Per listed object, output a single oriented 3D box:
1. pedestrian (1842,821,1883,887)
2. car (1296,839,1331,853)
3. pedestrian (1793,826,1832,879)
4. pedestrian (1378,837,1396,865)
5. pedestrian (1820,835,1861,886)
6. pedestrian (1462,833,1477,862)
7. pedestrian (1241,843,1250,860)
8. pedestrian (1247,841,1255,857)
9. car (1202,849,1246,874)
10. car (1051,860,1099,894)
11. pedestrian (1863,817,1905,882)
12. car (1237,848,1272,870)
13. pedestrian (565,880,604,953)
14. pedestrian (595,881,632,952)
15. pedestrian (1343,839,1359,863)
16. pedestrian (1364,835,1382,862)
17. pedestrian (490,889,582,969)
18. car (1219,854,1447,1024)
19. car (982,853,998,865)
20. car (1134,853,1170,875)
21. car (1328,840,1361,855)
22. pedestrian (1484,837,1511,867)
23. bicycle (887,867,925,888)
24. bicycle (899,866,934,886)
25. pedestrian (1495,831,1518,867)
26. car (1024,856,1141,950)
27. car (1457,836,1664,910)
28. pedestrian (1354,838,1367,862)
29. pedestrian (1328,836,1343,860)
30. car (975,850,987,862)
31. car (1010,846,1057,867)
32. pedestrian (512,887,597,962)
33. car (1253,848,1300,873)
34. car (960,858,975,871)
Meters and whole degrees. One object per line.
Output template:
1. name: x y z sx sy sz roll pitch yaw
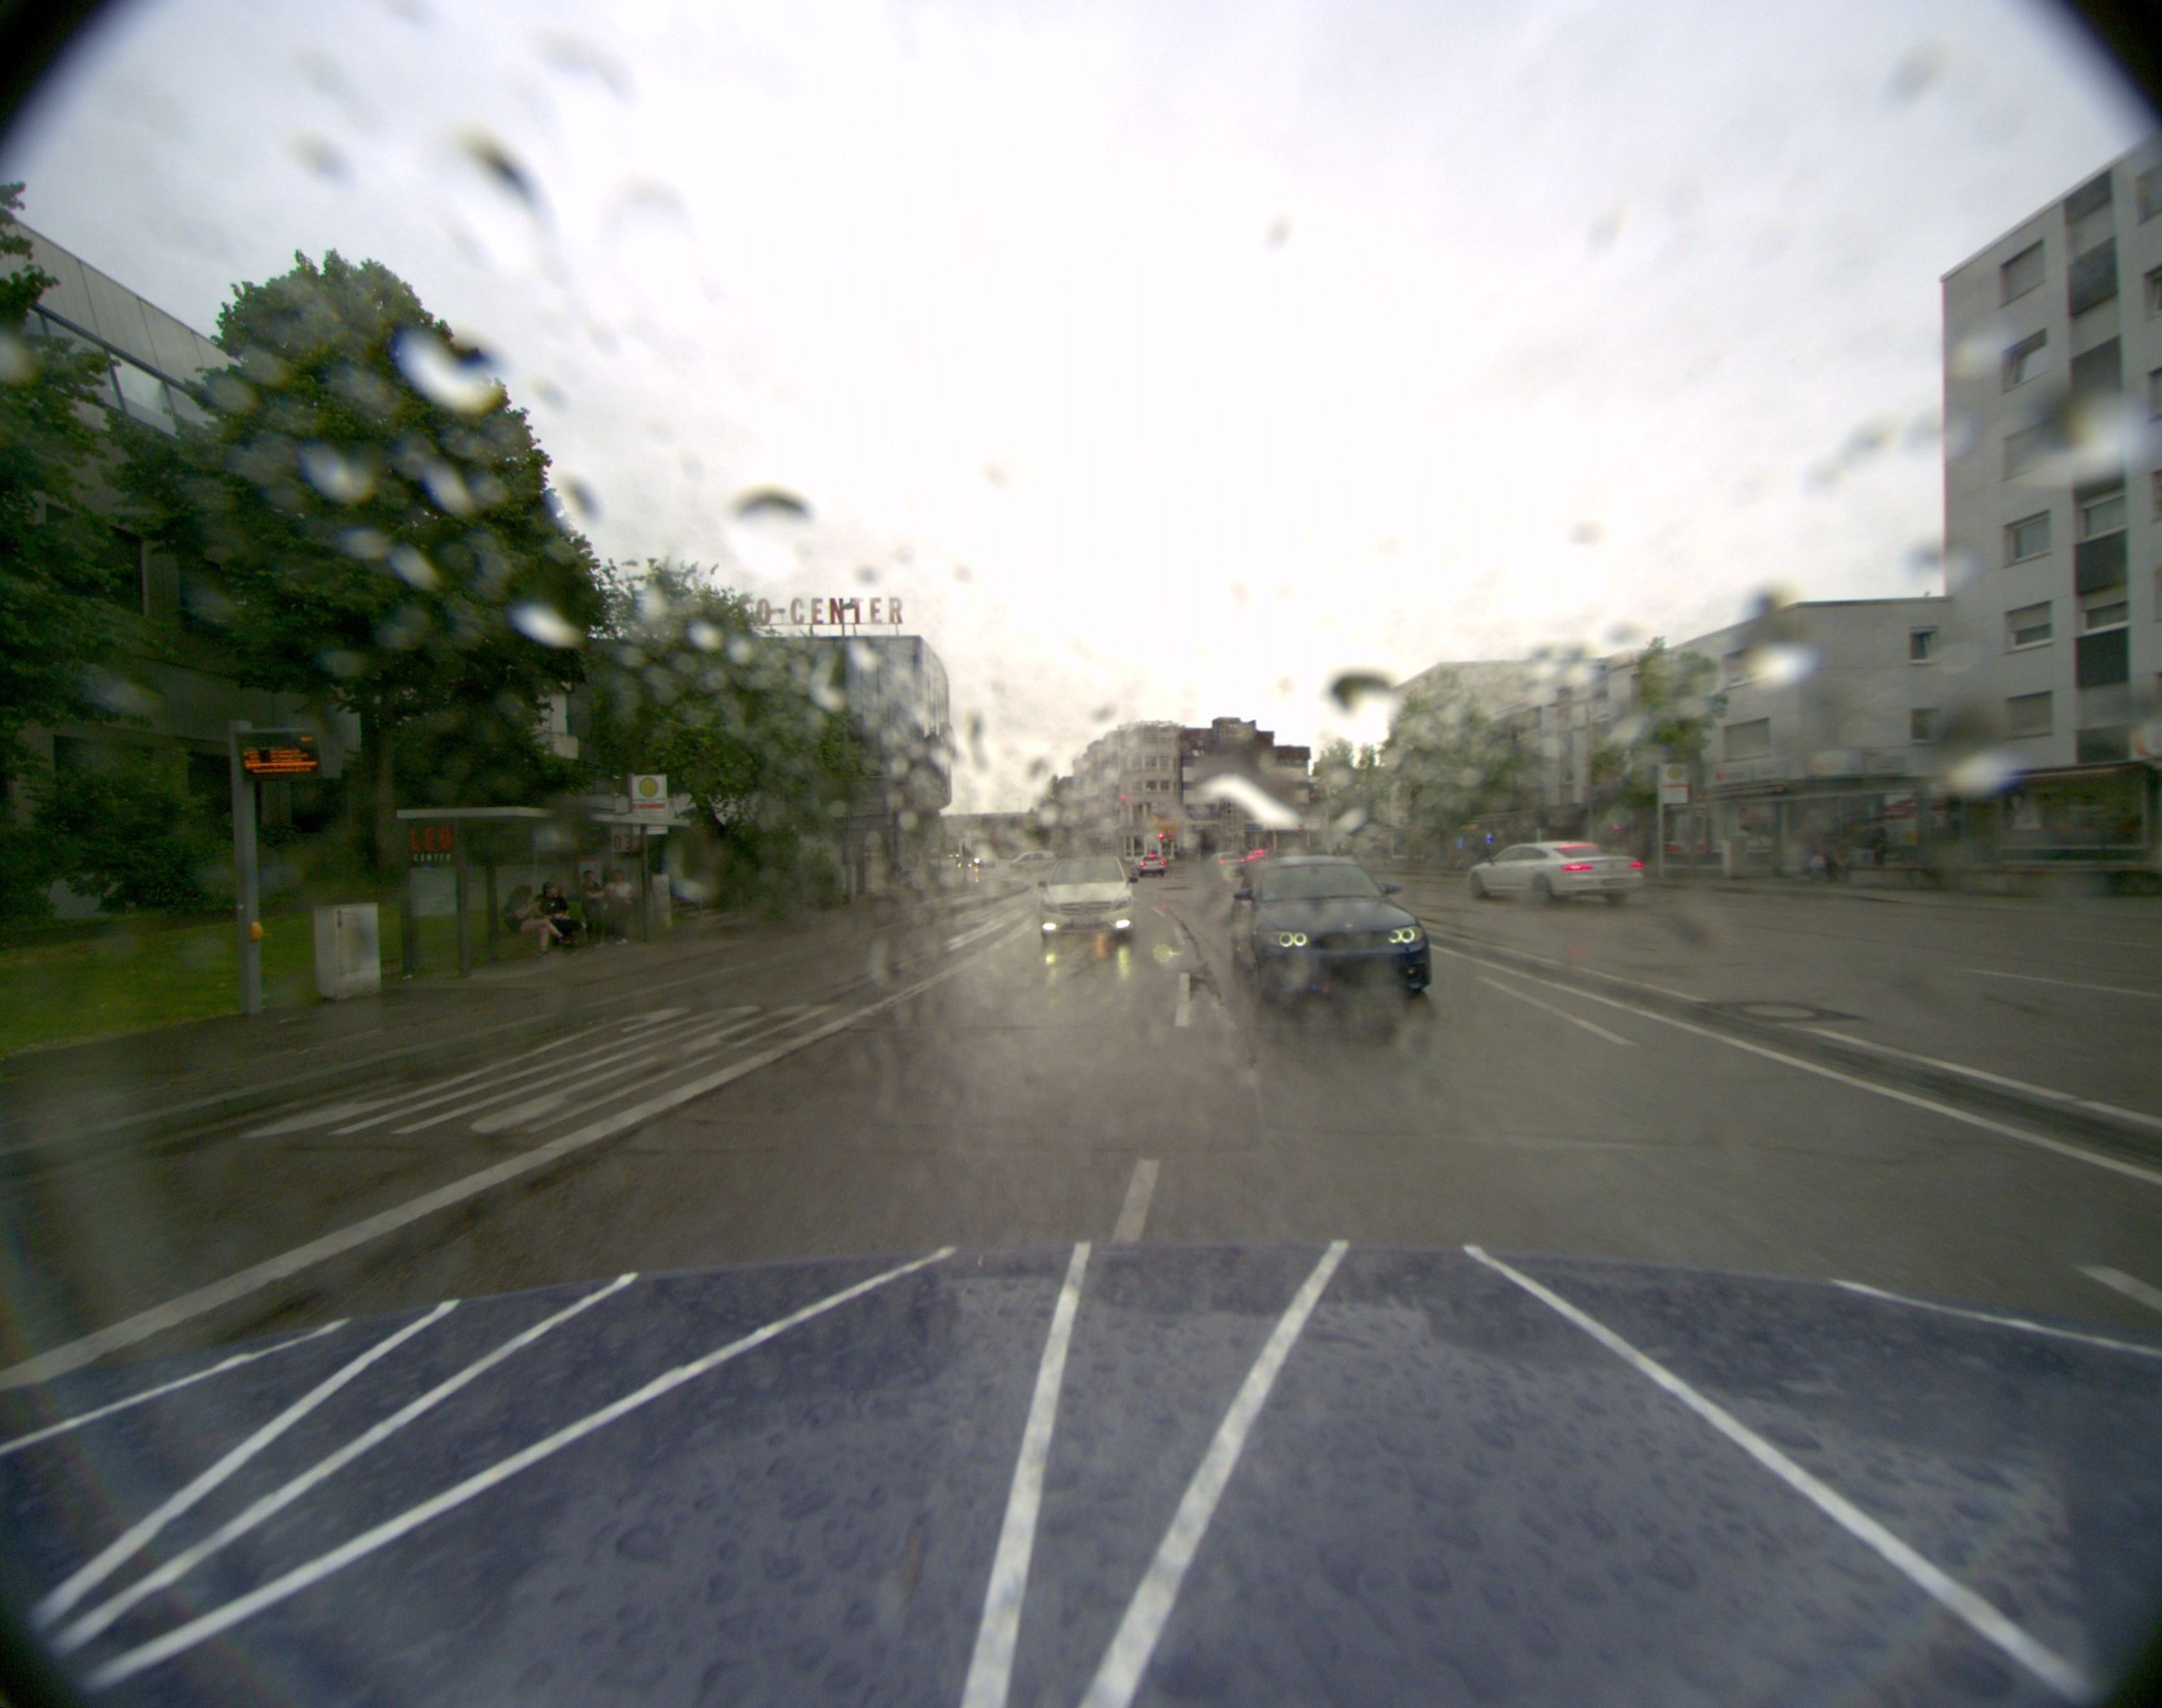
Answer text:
1. pedestrian: 20.064 -0.008 19.507 0.479 1.649 0.536 -2 1 2
2. car: 29.546 -1.021 96.715 3.898 1.710 1.745 -2 0 -18
3. pedestrian: 20.899 -0.039 21.724 0.537 1.496 0.614 -2 1 -22
4. pedestrian: 22.603 -0.214 56.158 0.905 2.002 0.977 -2 0 0
5. pedestrian: 20.721 0.177 20.738 0.536 1.344 0.579 -2 1 7
6. pedestrian: 24.244 -0.402 47.429 0.549 1.740 0.681 -2 0 2
7. pedestrian: 17.419 -0.278 80.401 0.838 1.733 0.585 -3 1 6
8. pedestrian: 18.275 -0.548 81.788 0.682 1.733 0.586 -2 1 26
9. car: 8.734 0.427 46.658 1.704 1.457 4.102 -1 0 -3
10. car: -0.225 1.061 36.957 1.631 1.481 3.842 -2 0 9
11. pedestrian: 20.729 -0.121 19.612 0.536 1.649 0.480 -2 1 7
12. car: 12.361 0.311 54.268 1.761 1.418 4.889 -2 0 5
13. pedestrian: -9.569 1.191 14.643 0.410 1.357 0.544 1 1 42
14. pedestrian: -9.321 1.225 15.150 0.410 1.357 0.544 1 1 43
15. pedestrian: 22.090 -0.270 62.258 0.905 1.904 0.977 -2 0 0
16. pedestrian: 21.515 -0.402 55.942 0.905 2.002 0.977 -2 0 0
17. pedestrian: -9.146 1.238 12.781 1.032 1.274 0.692 0 0 -1
18. car: 2.687 0.818 9.022 1.675 1.534 3.915 -2 -1 5
19. car: -12.021 0.684 100.422 1.902 1.517 3.996 -2 0 -10
20. car: 4.965 0.693 53.625 1.763 1.442 3.998 -2 -1 -6
21. car: 34.832 -0.864 100.439 3.898 1.710 1.745 -2 0 -18
22. pedestrian: 22.967 -0.113 41.905 1.010 1.636 0.726 -3 1 0
23. bicycle: -9.124 1.239 39.620 1.806 1.078 0.685 0 -1 -2
24. bicycle: -9.237 1.239 42.675 1.835 1.104 0.694 0 1 -2
25. pedestrian: 24.256 -0.296 43.300 0.760 2.002 0.864 -2 0 2
26. car: 0.193 0.878 15.543 1.761 1.540 4.329 -3 0 8
27. car: 11.200 0.394 18.271 1.847 1.452 4.808 -3 0 -1
28. pedestrian: 24.315 -0.359 66.021 0.760 2.002 0.864 -2 0 -1
29. pedestrian: 20.871 -0.507 62.269 0.905 1.904 0.978 -2 0 3
30. car: -14.565 0.263 110.751 1.584 1.630 3.638 -2 0 -9
31. car: -5.087 0.290 81.037 4.600 2.002 1.997 -2 0 -14
32. pedestrian: -9.342 1.243 13.521 1.032 1.274 0.692 0 0 -1
33. car: 12.038 0.381 47.070 1.762 1.418 4.000 -2 -1 -2
34. car: -15.102 1.368 100.783 1.902 1.517 3.996 -2 0 -10
